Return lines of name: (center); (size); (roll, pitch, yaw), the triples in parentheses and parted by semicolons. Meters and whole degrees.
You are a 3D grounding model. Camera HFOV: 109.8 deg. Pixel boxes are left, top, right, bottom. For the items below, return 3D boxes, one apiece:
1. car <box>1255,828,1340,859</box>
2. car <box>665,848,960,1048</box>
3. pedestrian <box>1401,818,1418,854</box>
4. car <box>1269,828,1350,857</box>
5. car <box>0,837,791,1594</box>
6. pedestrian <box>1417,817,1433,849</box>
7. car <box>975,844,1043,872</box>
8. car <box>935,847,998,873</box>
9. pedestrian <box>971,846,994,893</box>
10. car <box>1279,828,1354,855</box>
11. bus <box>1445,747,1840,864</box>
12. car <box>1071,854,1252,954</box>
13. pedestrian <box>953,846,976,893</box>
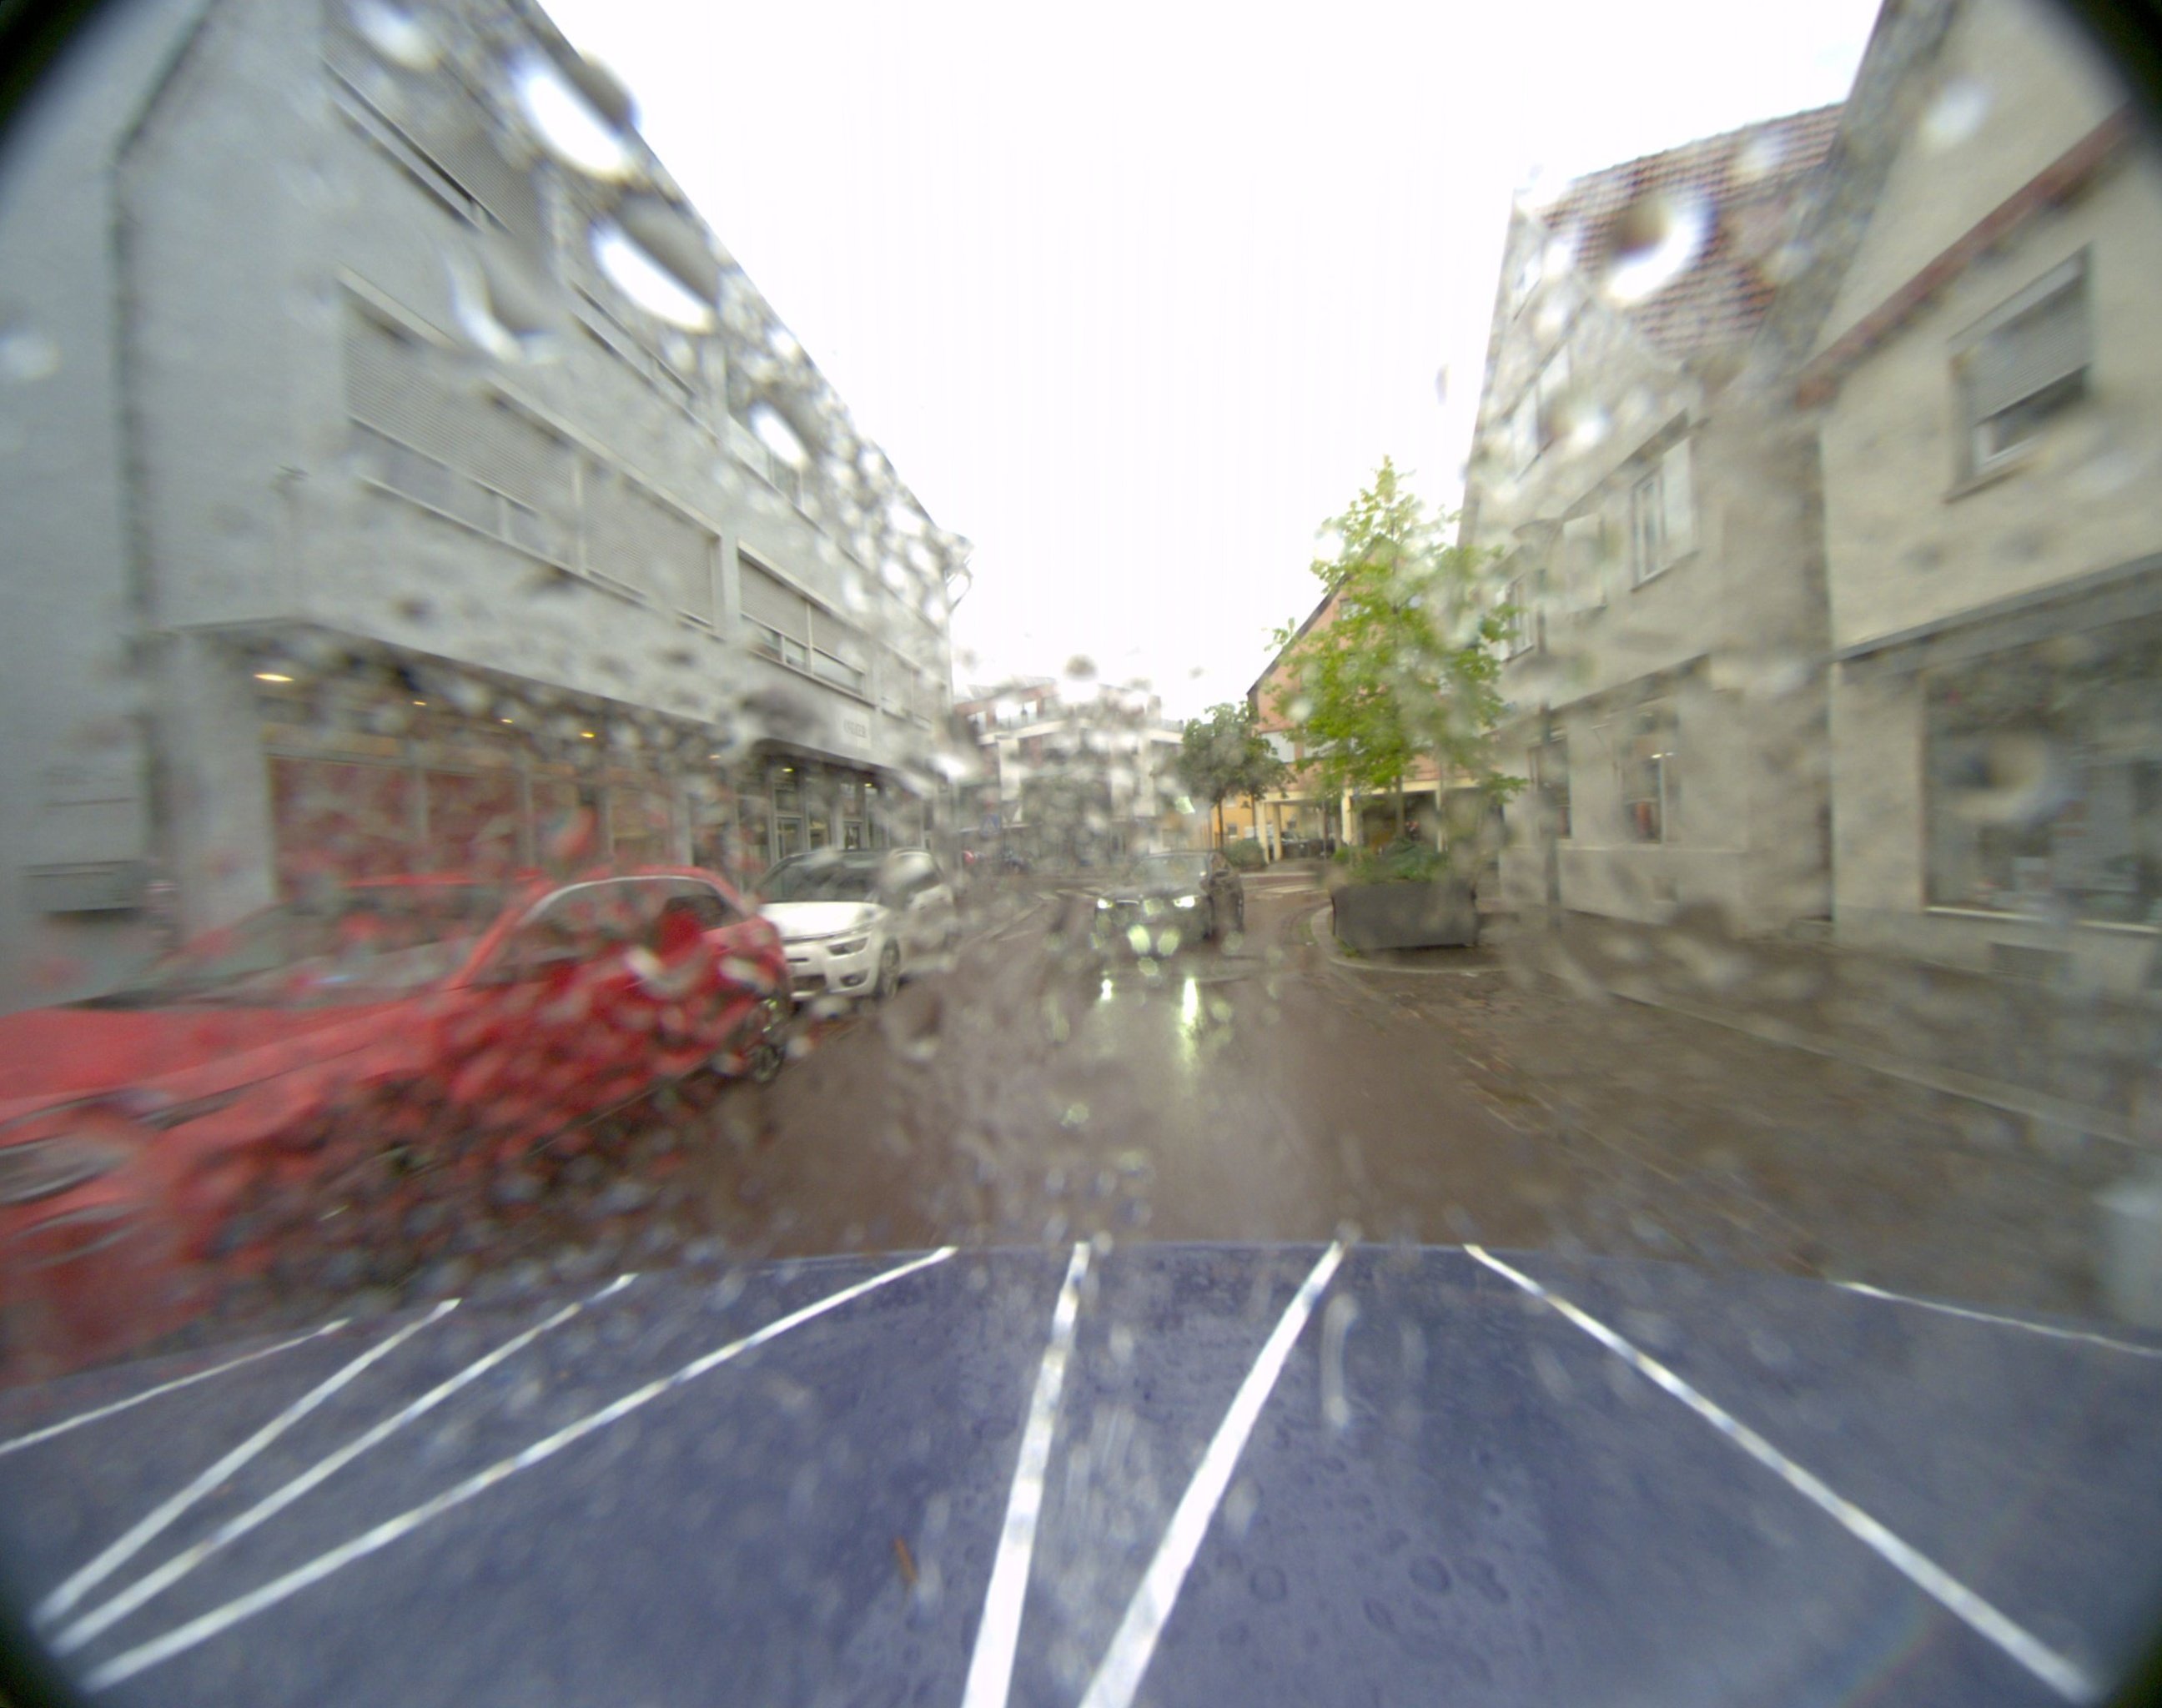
car: (11.505, -0.545, 40.401); (3.990, 1.477, 2.003); (-2, 1, 26)
car: (-2.725, 0.830, 8.894); (1.694, 1.680, 4.278); (-2, 1, 3)
pedestrian: (14.903, -0.809, 34.465); (0.586, 1.623, 0.480); (-2, 2, 29)
car: (12.801, -0.635, 42.585); (3.990, 1.477, 2.003); (-2, 1, 26)
car: (-3.116, 0.799, 3.477); (1.693, 1.680, 3.958); (-2, 1, 5)
pedestrian: (15.568, -0.946, 34.403); (0.586, 1.430, 0.480); (-2, 2, 29)
car: (-4.541, 0.259, 47.777); (3.989, 1.565, 1.722); (-2, 1, 34)
car: (-7.700, 0.411, 51.019); (3.989, 1.565, 1.722); (-2, 1, 34)
pedestrian: (-3.898, 0.610, 30.154); (0.673, 1.801, 0.679); (-3, 2, -21)
car: (14.132, -0.741, 45.577); (3.990, 1.477, 2.003); (-2, 1, 26)
bus: (18.723, -1.488, 26.432); (10.669, 3.281, 2.683); (-2, 1, 22)
car: (1.704, 0.782, 13.910); (1.996, 1.398, 4.900); (-3, 0, 21)
pedestrian: (-4.560, 0.607, 29.793); (0.700, 1.801, 0.510); (-3, 2, -22)
